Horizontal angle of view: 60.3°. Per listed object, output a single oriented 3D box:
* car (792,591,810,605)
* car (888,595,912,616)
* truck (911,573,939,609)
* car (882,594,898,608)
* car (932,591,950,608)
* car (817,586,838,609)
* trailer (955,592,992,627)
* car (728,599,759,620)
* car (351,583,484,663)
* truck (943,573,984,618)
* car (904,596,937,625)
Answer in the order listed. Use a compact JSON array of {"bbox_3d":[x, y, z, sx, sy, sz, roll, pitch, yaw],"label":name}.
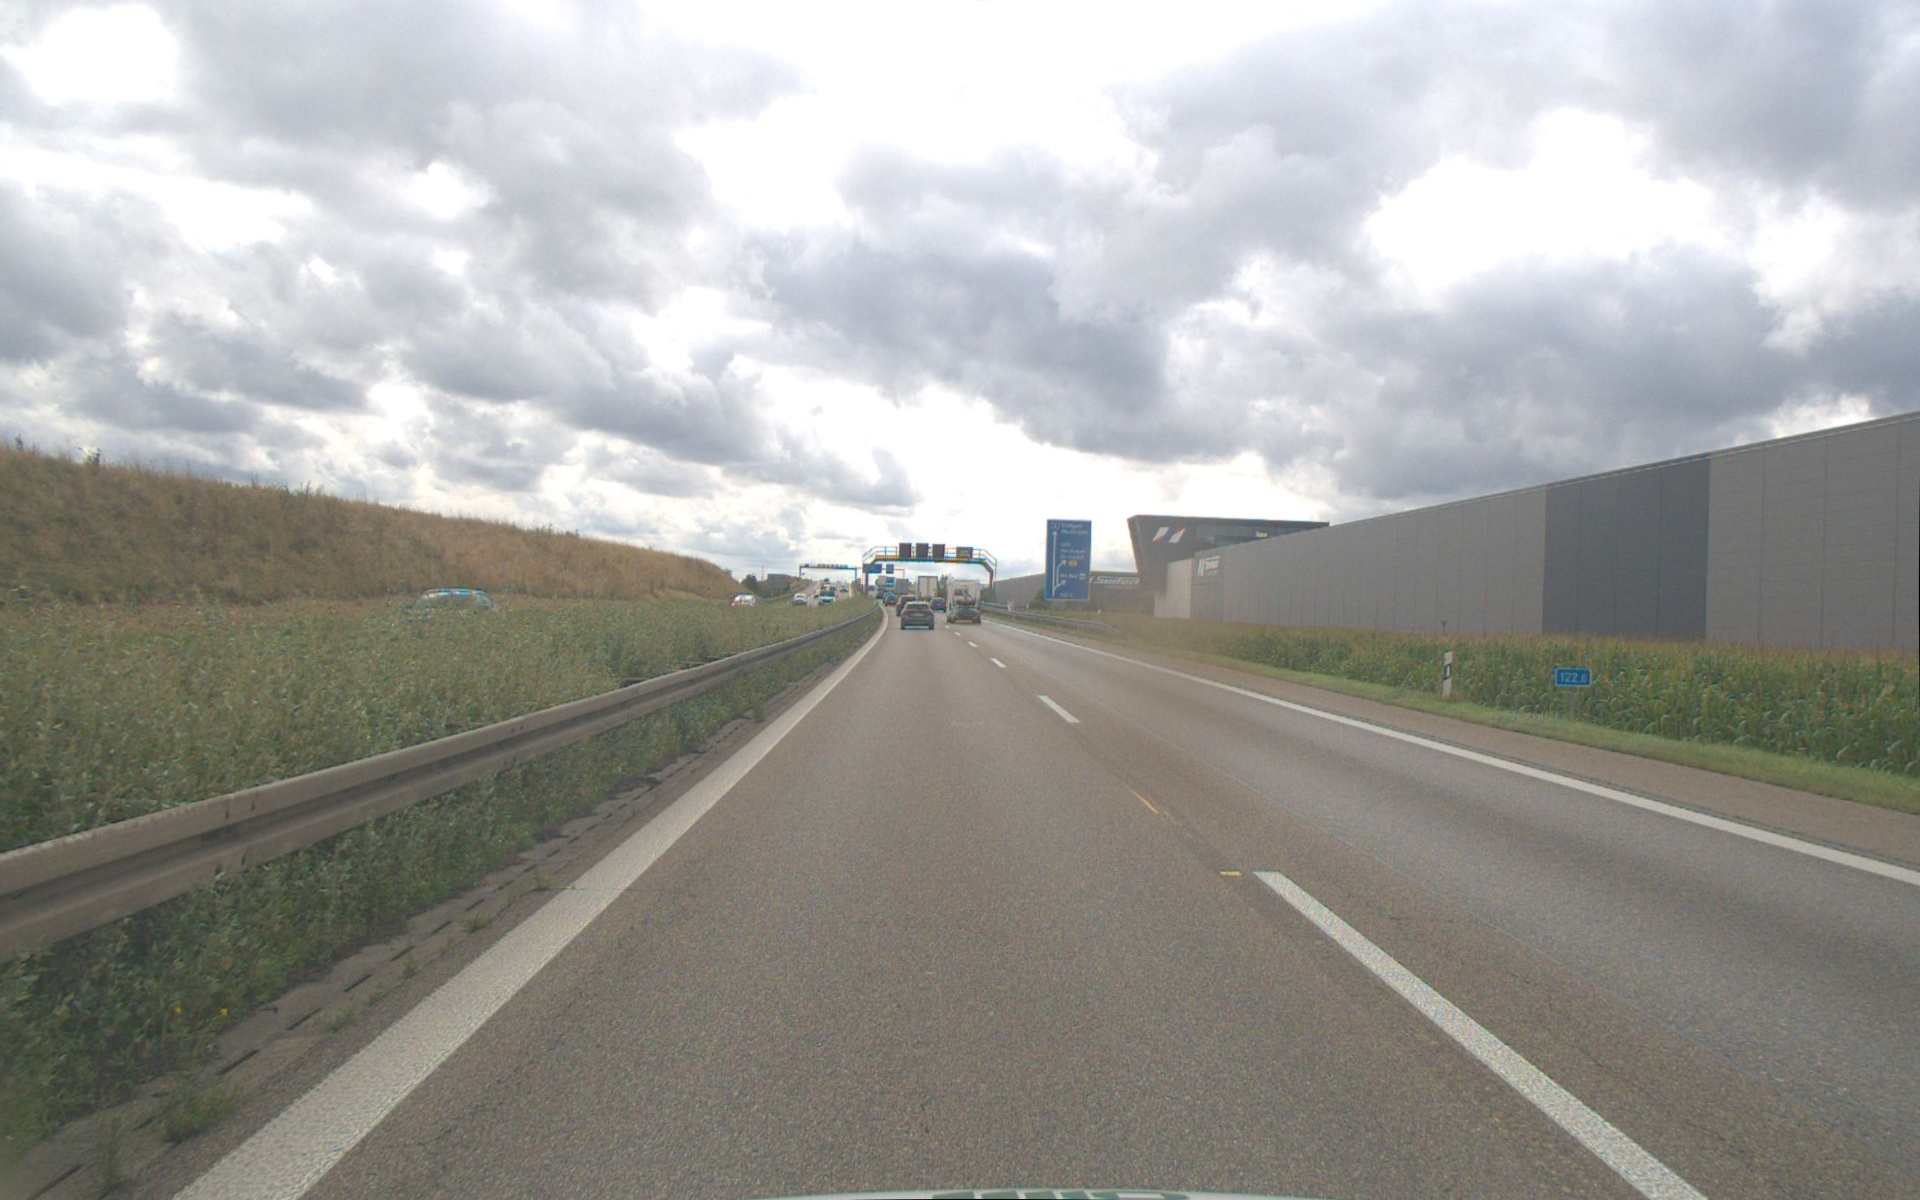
[{"bbox_3d":[-18.060,-0.207,187.666,1.736,1.479,3.999,1,0,-2],"label":"car"},{"bbox_3d":[-5.095,0.468,140.547,1.906,1.714,3.999,1,0,-1],"label":"car"},{"bbox_3d":[-4.672,-1.190,219.964,3.273,4.613,8.011,1,0,-3],"label":"truck"},{"bbox_3d":[-9.251,0.118,218.697,1.904,1.806,3.695,1,0,-1],"label":"car"},{"bbox_3d":[-2.016,-0.008,174.722,1.764,1.714,3.999,1,0,-2],"label":"car"},{"bbox_3d":[-14.195,-0.251,176.910,1.954,2.389,5.868,1,0,-3],"label":"car"},{"bbox_3d":[0.857,0.629,107.620,2.291,2.174,3.999,1,0,-1],"label":"trailer"},{"bbox_3d":[-15.349,0.659,117.459,1.689,1.428,4.341,1,0,-1],"label":"car"},{"bbox_3d":[-12.519,0.519,38.389,1.779,1.732,3.999,1,0,-1],"label":"car"},{"bbox_3d":[0.183,-0.313,114.360,2.433,3.002,5.811,1,0,-3],"label":"truck"},{"bbox_3d":[-2.091,0.560,88.013,1.711,1.478,3.999,1,0,-1],"label":"car"}]
